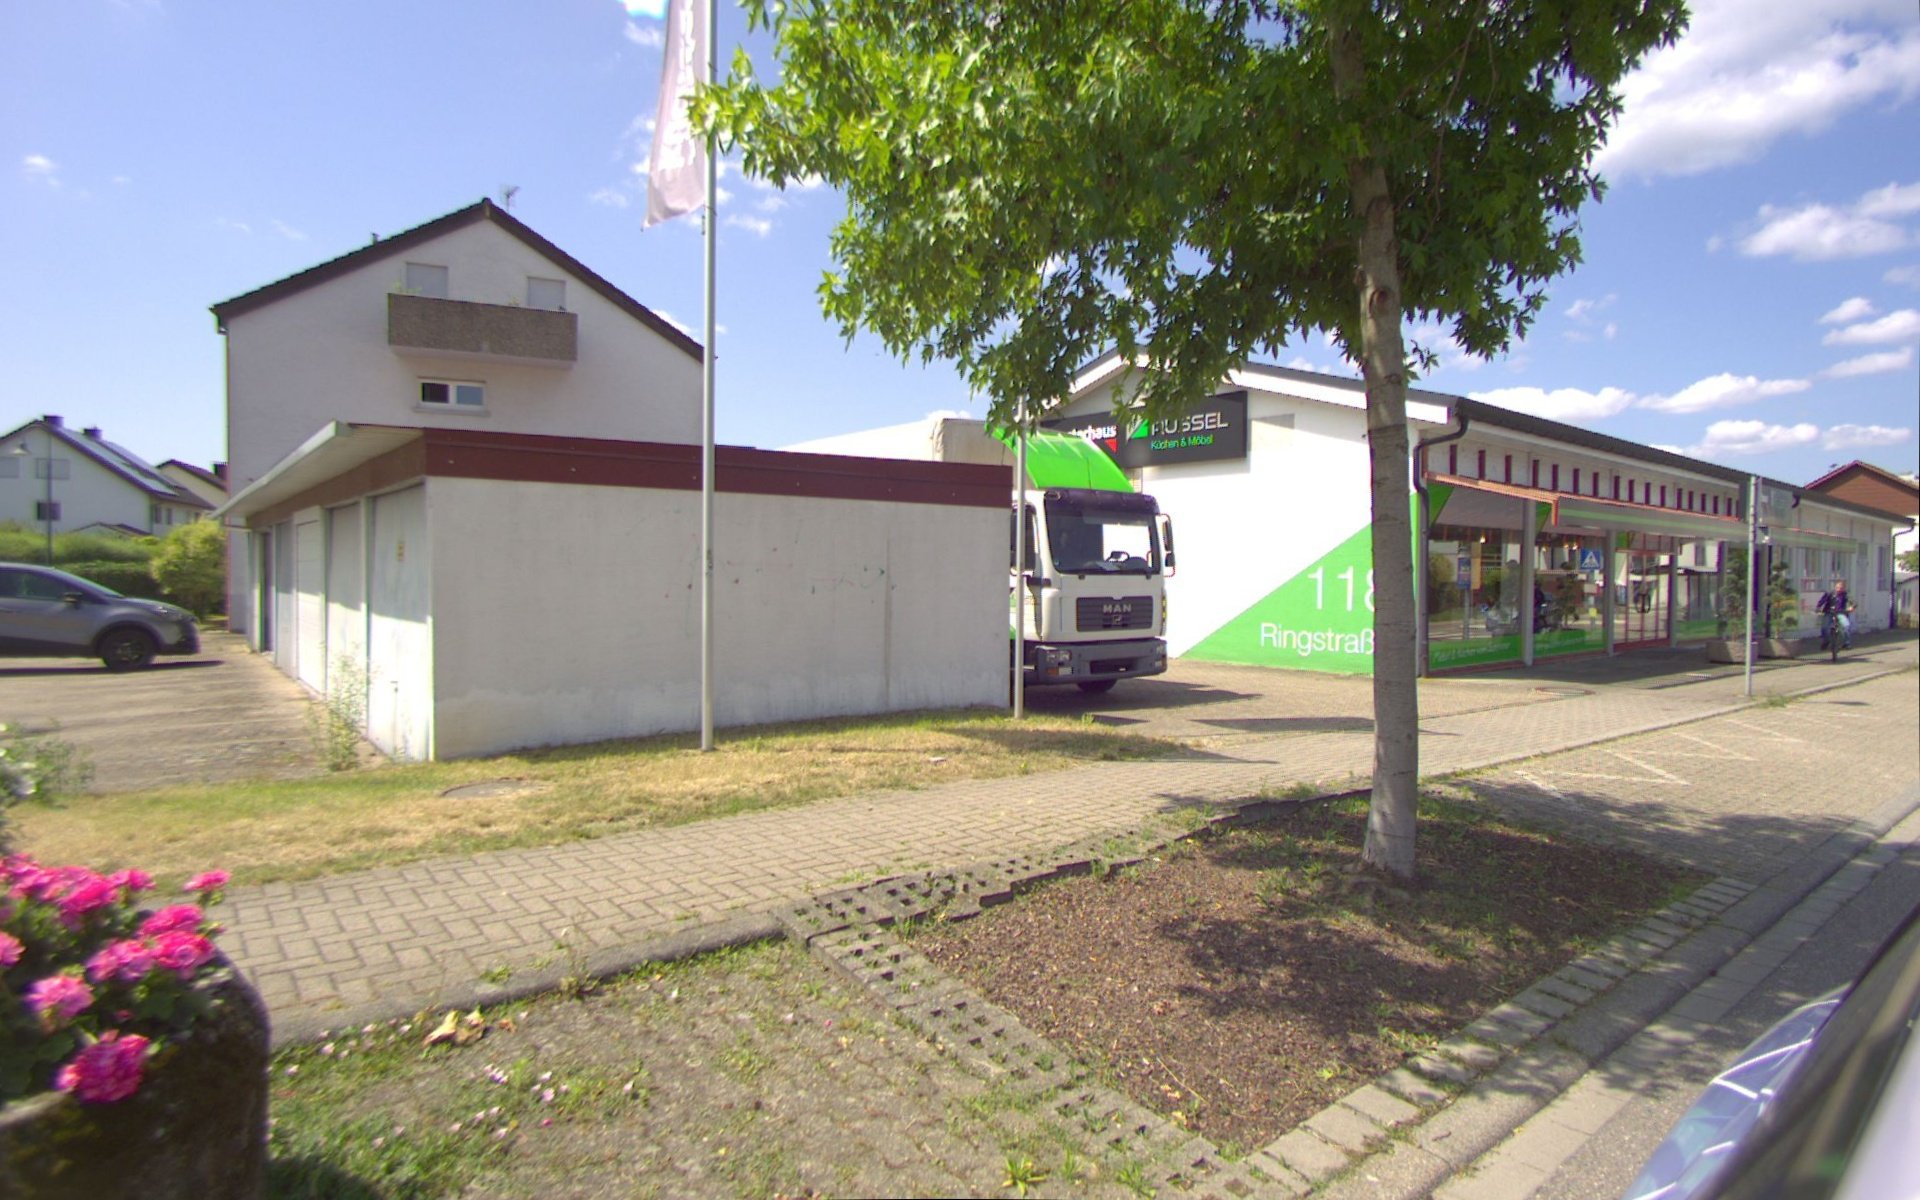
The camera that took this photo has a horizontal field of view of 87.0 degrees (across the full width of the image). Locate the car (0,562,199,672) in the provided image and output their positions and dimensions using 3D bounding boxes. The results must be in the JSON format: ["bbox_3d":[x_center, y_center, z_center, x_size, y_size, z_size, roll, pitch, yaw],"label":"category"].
[{"bbox_3d":[-13.639,0.213,14.760,4.056,1.521,1.680,-1,1,-38],"label":"car"}]

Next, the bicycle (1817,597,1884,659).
[{"bbox_3d":[19.363,0.585,21.991,1.910,1.179,0.805,-2,4,-41],"label":"bicycle"}]

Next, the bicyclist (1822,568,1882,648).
[{"bbox_3d":[19.301,0.153,21.890,1.092,1.649,0.805,-2,3,-41],"label":"bicyclist"}]

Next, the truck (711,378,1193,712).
[{"bbox_3d":[-0.669,-0.693,15.007,2.630,3.616,8.189,-1,2,-39],"label":"truck"}]
